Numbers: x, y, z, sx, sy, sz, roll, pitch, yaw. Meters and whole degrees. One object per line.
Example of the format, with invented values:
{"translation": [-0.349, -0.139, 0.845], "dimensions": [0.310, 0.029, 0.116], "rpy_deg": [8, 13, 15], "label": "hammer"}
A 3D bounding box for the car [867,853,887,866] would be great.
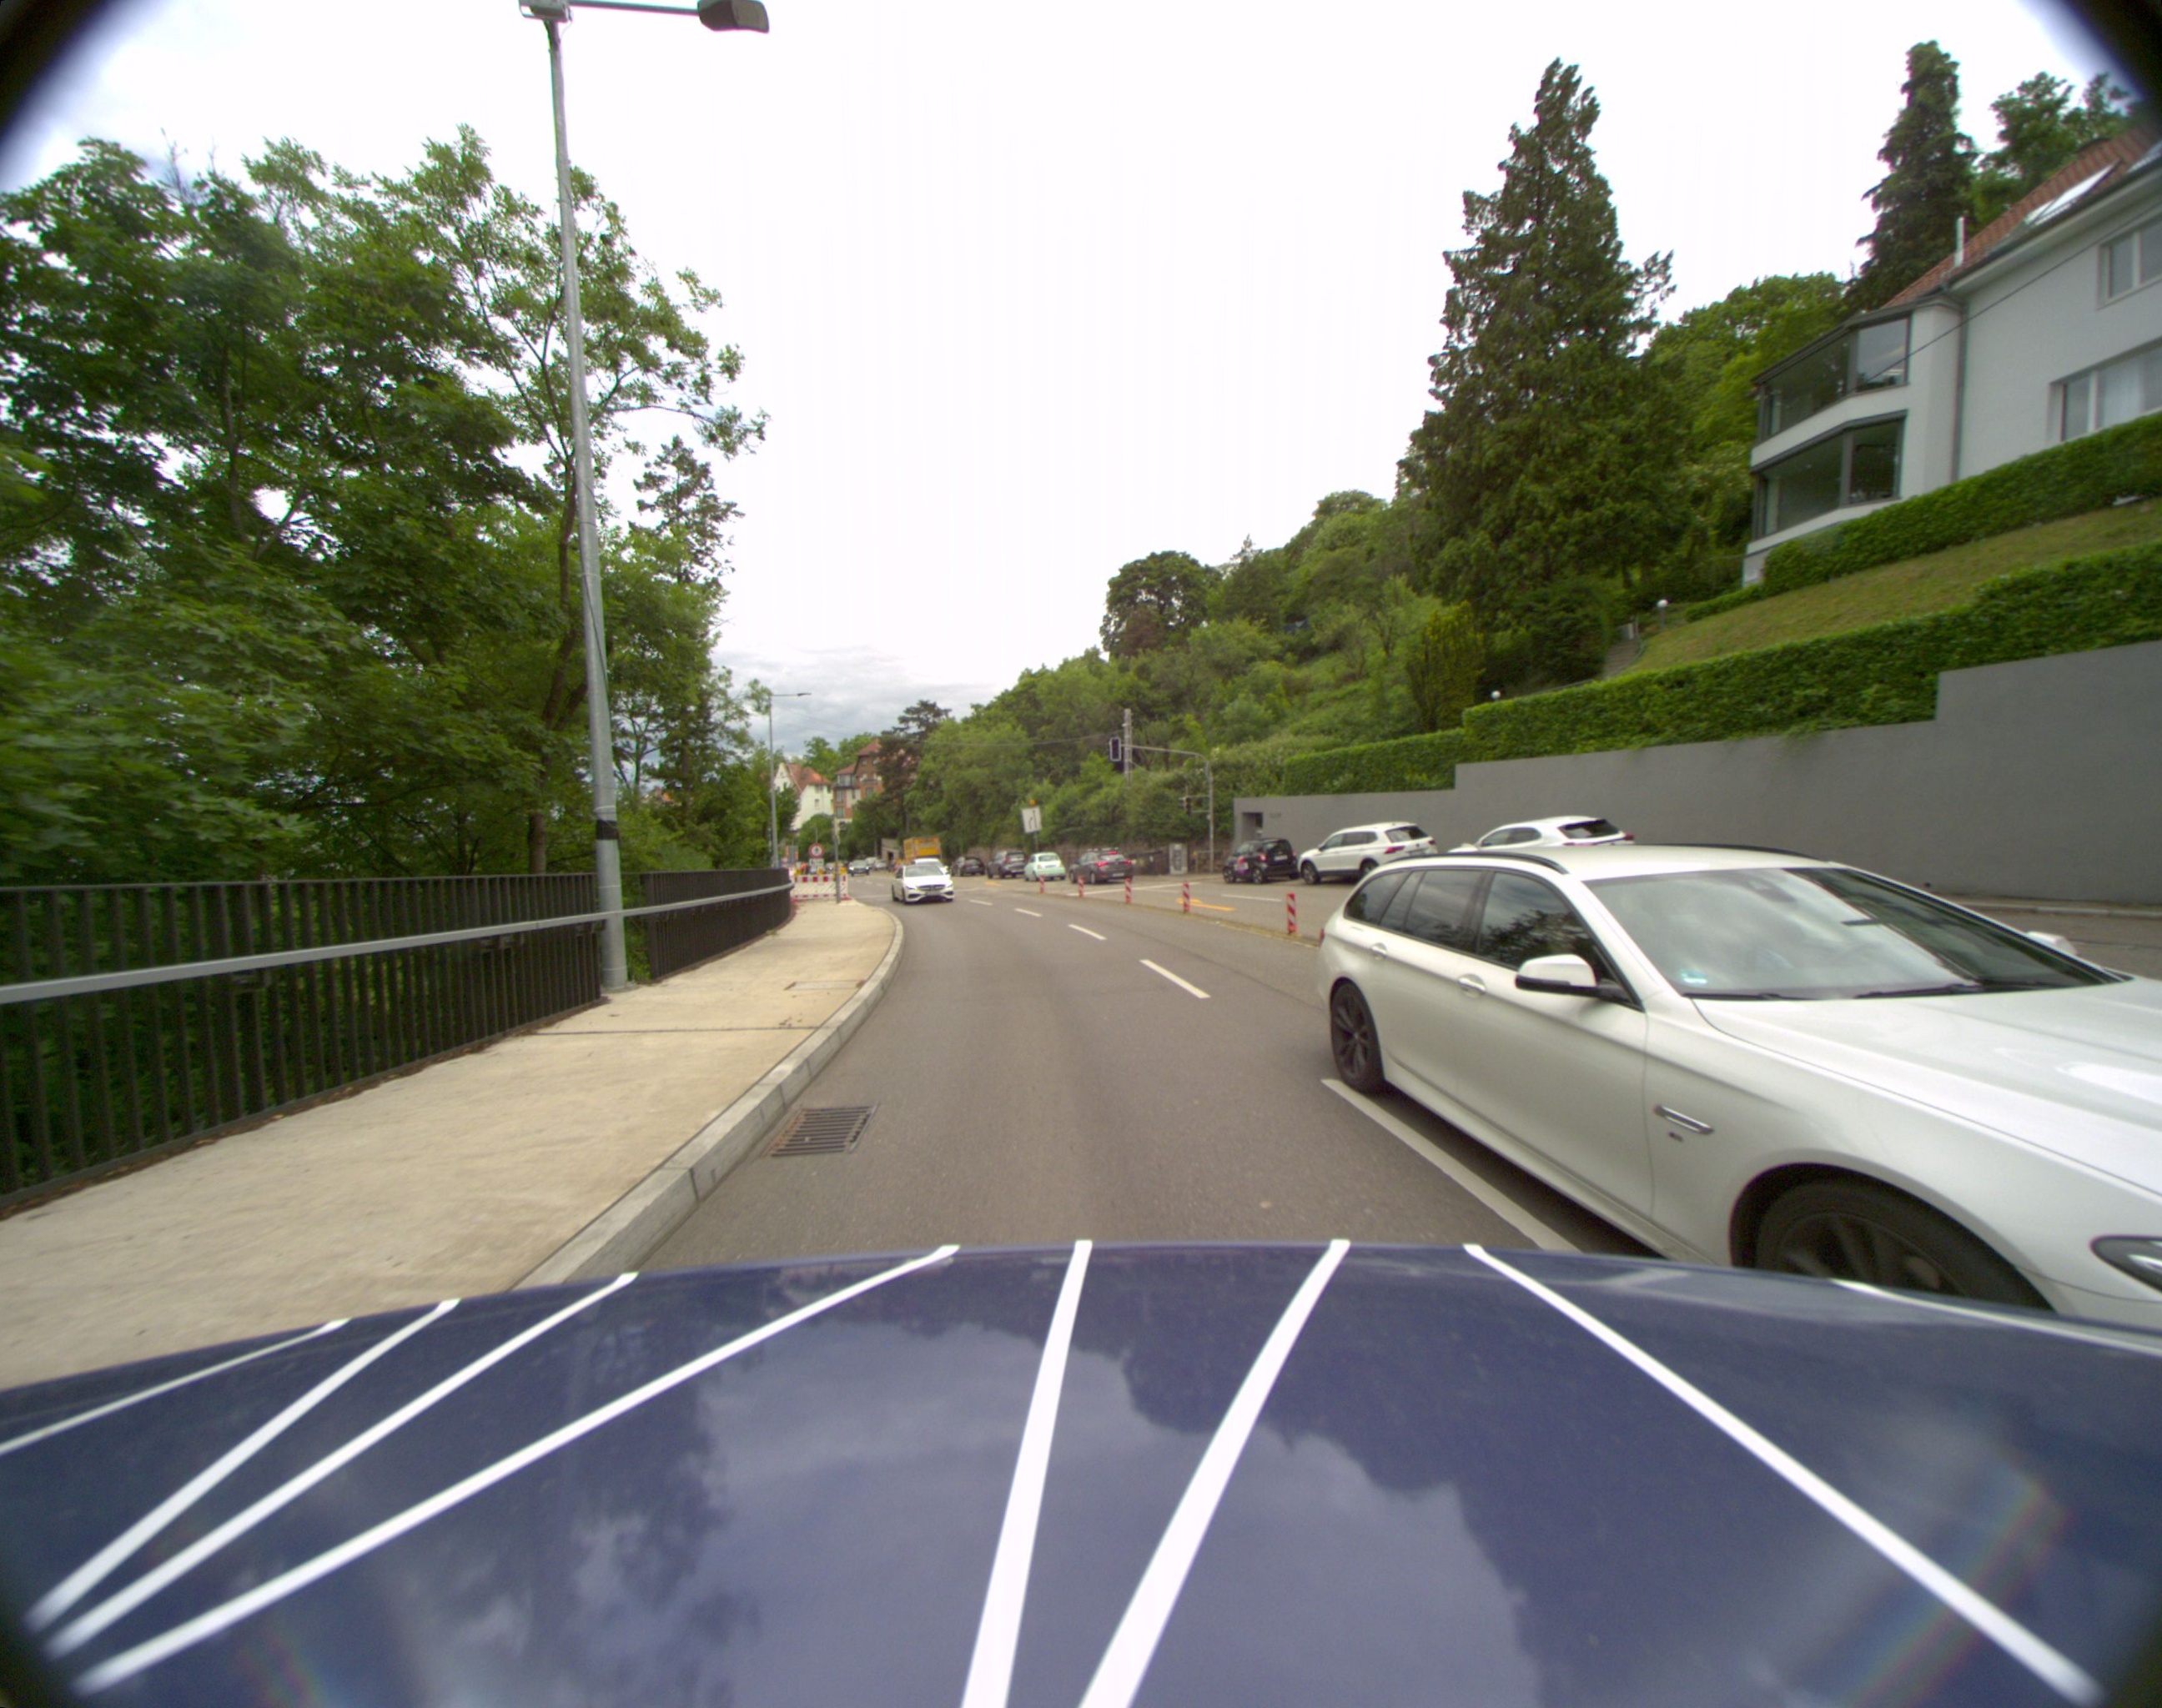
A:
{"translation": [-29.713, 0.765, 110.553], "dimensions": [1.811, 1.780, 4.332], "rpy_deg": [-5, 2, -28], "label": "car"}

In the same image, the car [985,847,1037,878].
{"translation": [-4.456, 0.532, 47.900], "dimensions": [1.891, 1.687, 4.663], "rpy_deg": [-4, 1, -22], "label": "car"}

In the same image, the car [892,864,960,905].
{"translation": [-5.937, 1.106, 28.777], "dimensions": [1.801, 1.299, 4.093], "rpy_deg": [-4, 1, -21], "label": "car"}

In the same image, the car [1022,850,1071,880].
{"translation": [-1.905, 0.572, 40.754], "dimensions": [1.717, 1.458, 3.655], "rpy_deg": [-5, 1, -17], "label": "car"}

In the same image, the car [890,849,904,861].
{"translation": [-30.471, 0.097, 125.734], "dimensions": [1.575, 1.597, 3.578], "rpy_deg": [-5, 6, -22], "label": "car"}

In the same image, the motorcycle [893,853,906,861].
{"translation": [-29.551, 0.448, 123.746], "dimensions": [1.846, 1.177, 0.635], "rpy_deg": [-5, 6, -19], "label": "motorcycle"}

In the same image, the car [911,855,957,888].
{"translation": [-8.061, 0.913, 41.383], "dimensions": [1.888, 1.569, 3.993], "rpy_deg": [-5, 2, -18], "label": "car"}

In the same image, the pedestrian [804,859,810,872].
{"translation": [-39.079, 1.626, 108.349], "dimensions": [0.641, 1.848, 0.833], "rpy_deg": [-1, 0, -33], "label": "pedestrian"}

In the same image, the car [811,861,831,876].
{"translation": [-29.645, 1.632, 86.585], "dimensions": [1.847, 1.447, 4.619], "rpy_deg": [-4, 1, -22], "label": "car"}

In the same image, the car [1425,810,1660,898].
{"translation": [10.002, -0.033, 16.956], "dimensions": [1.839, 1.564, 4.469], "rpy_deg": [-5, 2, -13], "label": "car"}

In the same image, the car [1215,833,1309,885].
{"translation": [6.383, 0.189, 27.055], "dimensions": [1.718, 1.564, 2.953], "rpy_deg": [-7, 1, -21], "label": "car"}

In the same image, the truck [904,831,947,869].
{"translation": [-15.442, -0.369, 75.098], "dimensions": [2.742, 3.490, 7.336], "rpy_deg": [-3, 1, -22], "label": "truck"}

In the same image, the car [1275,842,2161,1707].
{"translation": [2.574, 0.757, 3.206], "dimensions": [1.853, 1.458, 4.875], "rpy_deg": [-5, 2, -4], "label": "car"}

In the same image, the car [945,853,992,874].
{"translation": [-8.588, 0.740, 57.683], "dimensions": [1.818, 1.421, 4.864], "rpy_deg": [-4, 1, -29], "label": "car"}

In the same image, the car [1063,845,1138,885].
{"translation": [0.796, 0.472, 34.308], "dimensions": [1.718, 1.589, 4.198], "rpy_deg": [-4, 2, -23], "label": "car"}

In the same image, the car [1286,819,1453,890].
{"translation": [8.333, 0.006, 22.489], "dimensions": [1.866, 1.721, 4.753], "rpy_deg": [-6, 2, -20], "label": "car"}
